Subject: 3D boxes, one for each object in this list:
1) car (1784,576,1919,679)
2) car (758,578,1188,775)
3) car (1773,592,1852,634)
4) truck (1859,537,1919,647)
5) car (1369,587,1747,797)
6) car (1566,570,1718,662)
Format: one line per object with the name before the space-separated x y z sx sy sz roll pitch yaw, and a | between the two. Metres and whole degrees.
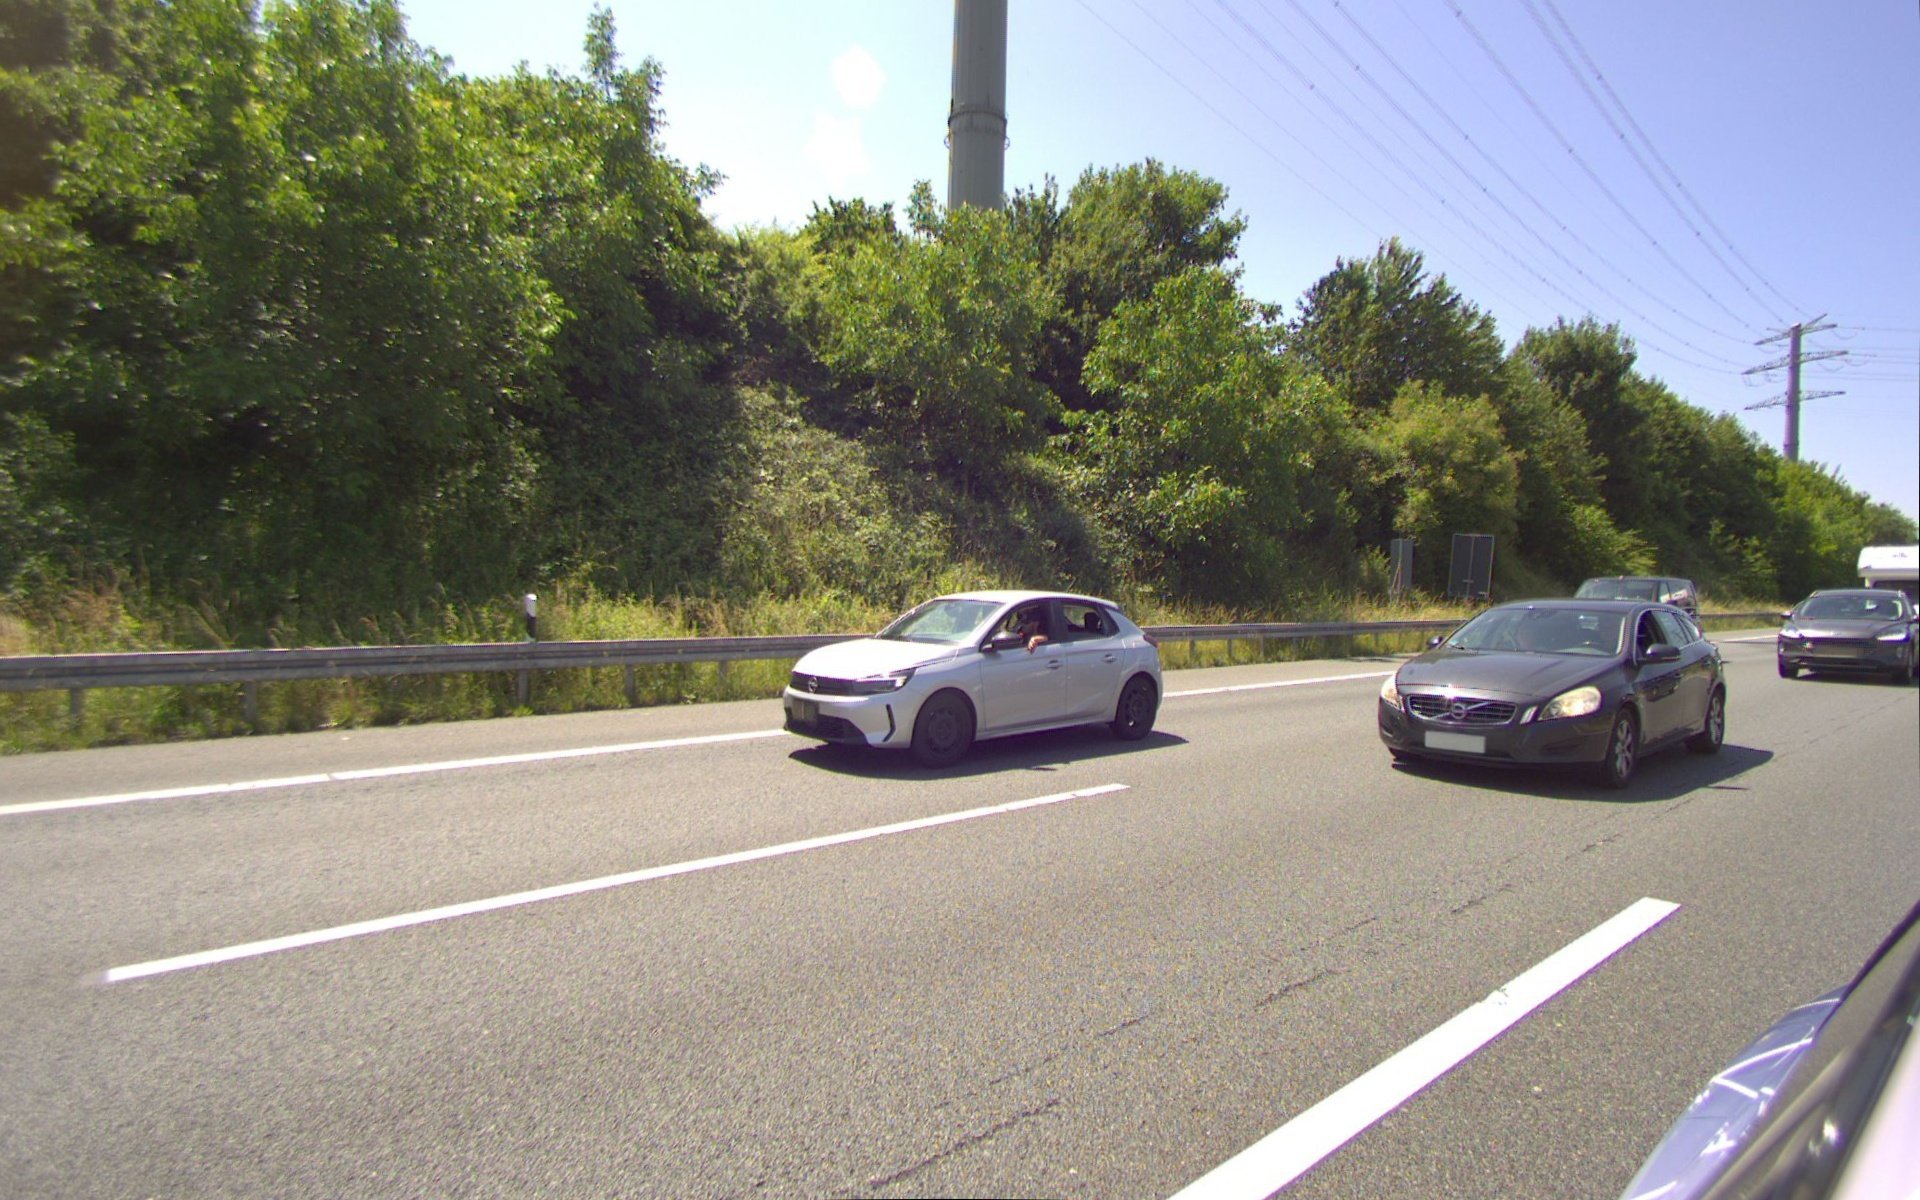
car | 17.087 0.441 19.012 4.309 1.724 1.890 -1 1 -42
car | 0.255 0.565 9.627 3.944 1.488 1.744 0 0 -41
car | 31.542 0.443 37.415 3.668 1.455 1.798 -1 1 -42
truck | 30.238 -0.253 31.113 9.722 3.053 2.513 -1 0 -40
car | 5.506 0.614 9.088 4.159 1.455 1.798 -1 1 -42
car | 15.774 0.316 23.305 4.616 1.928 1.787 0 0 -41
